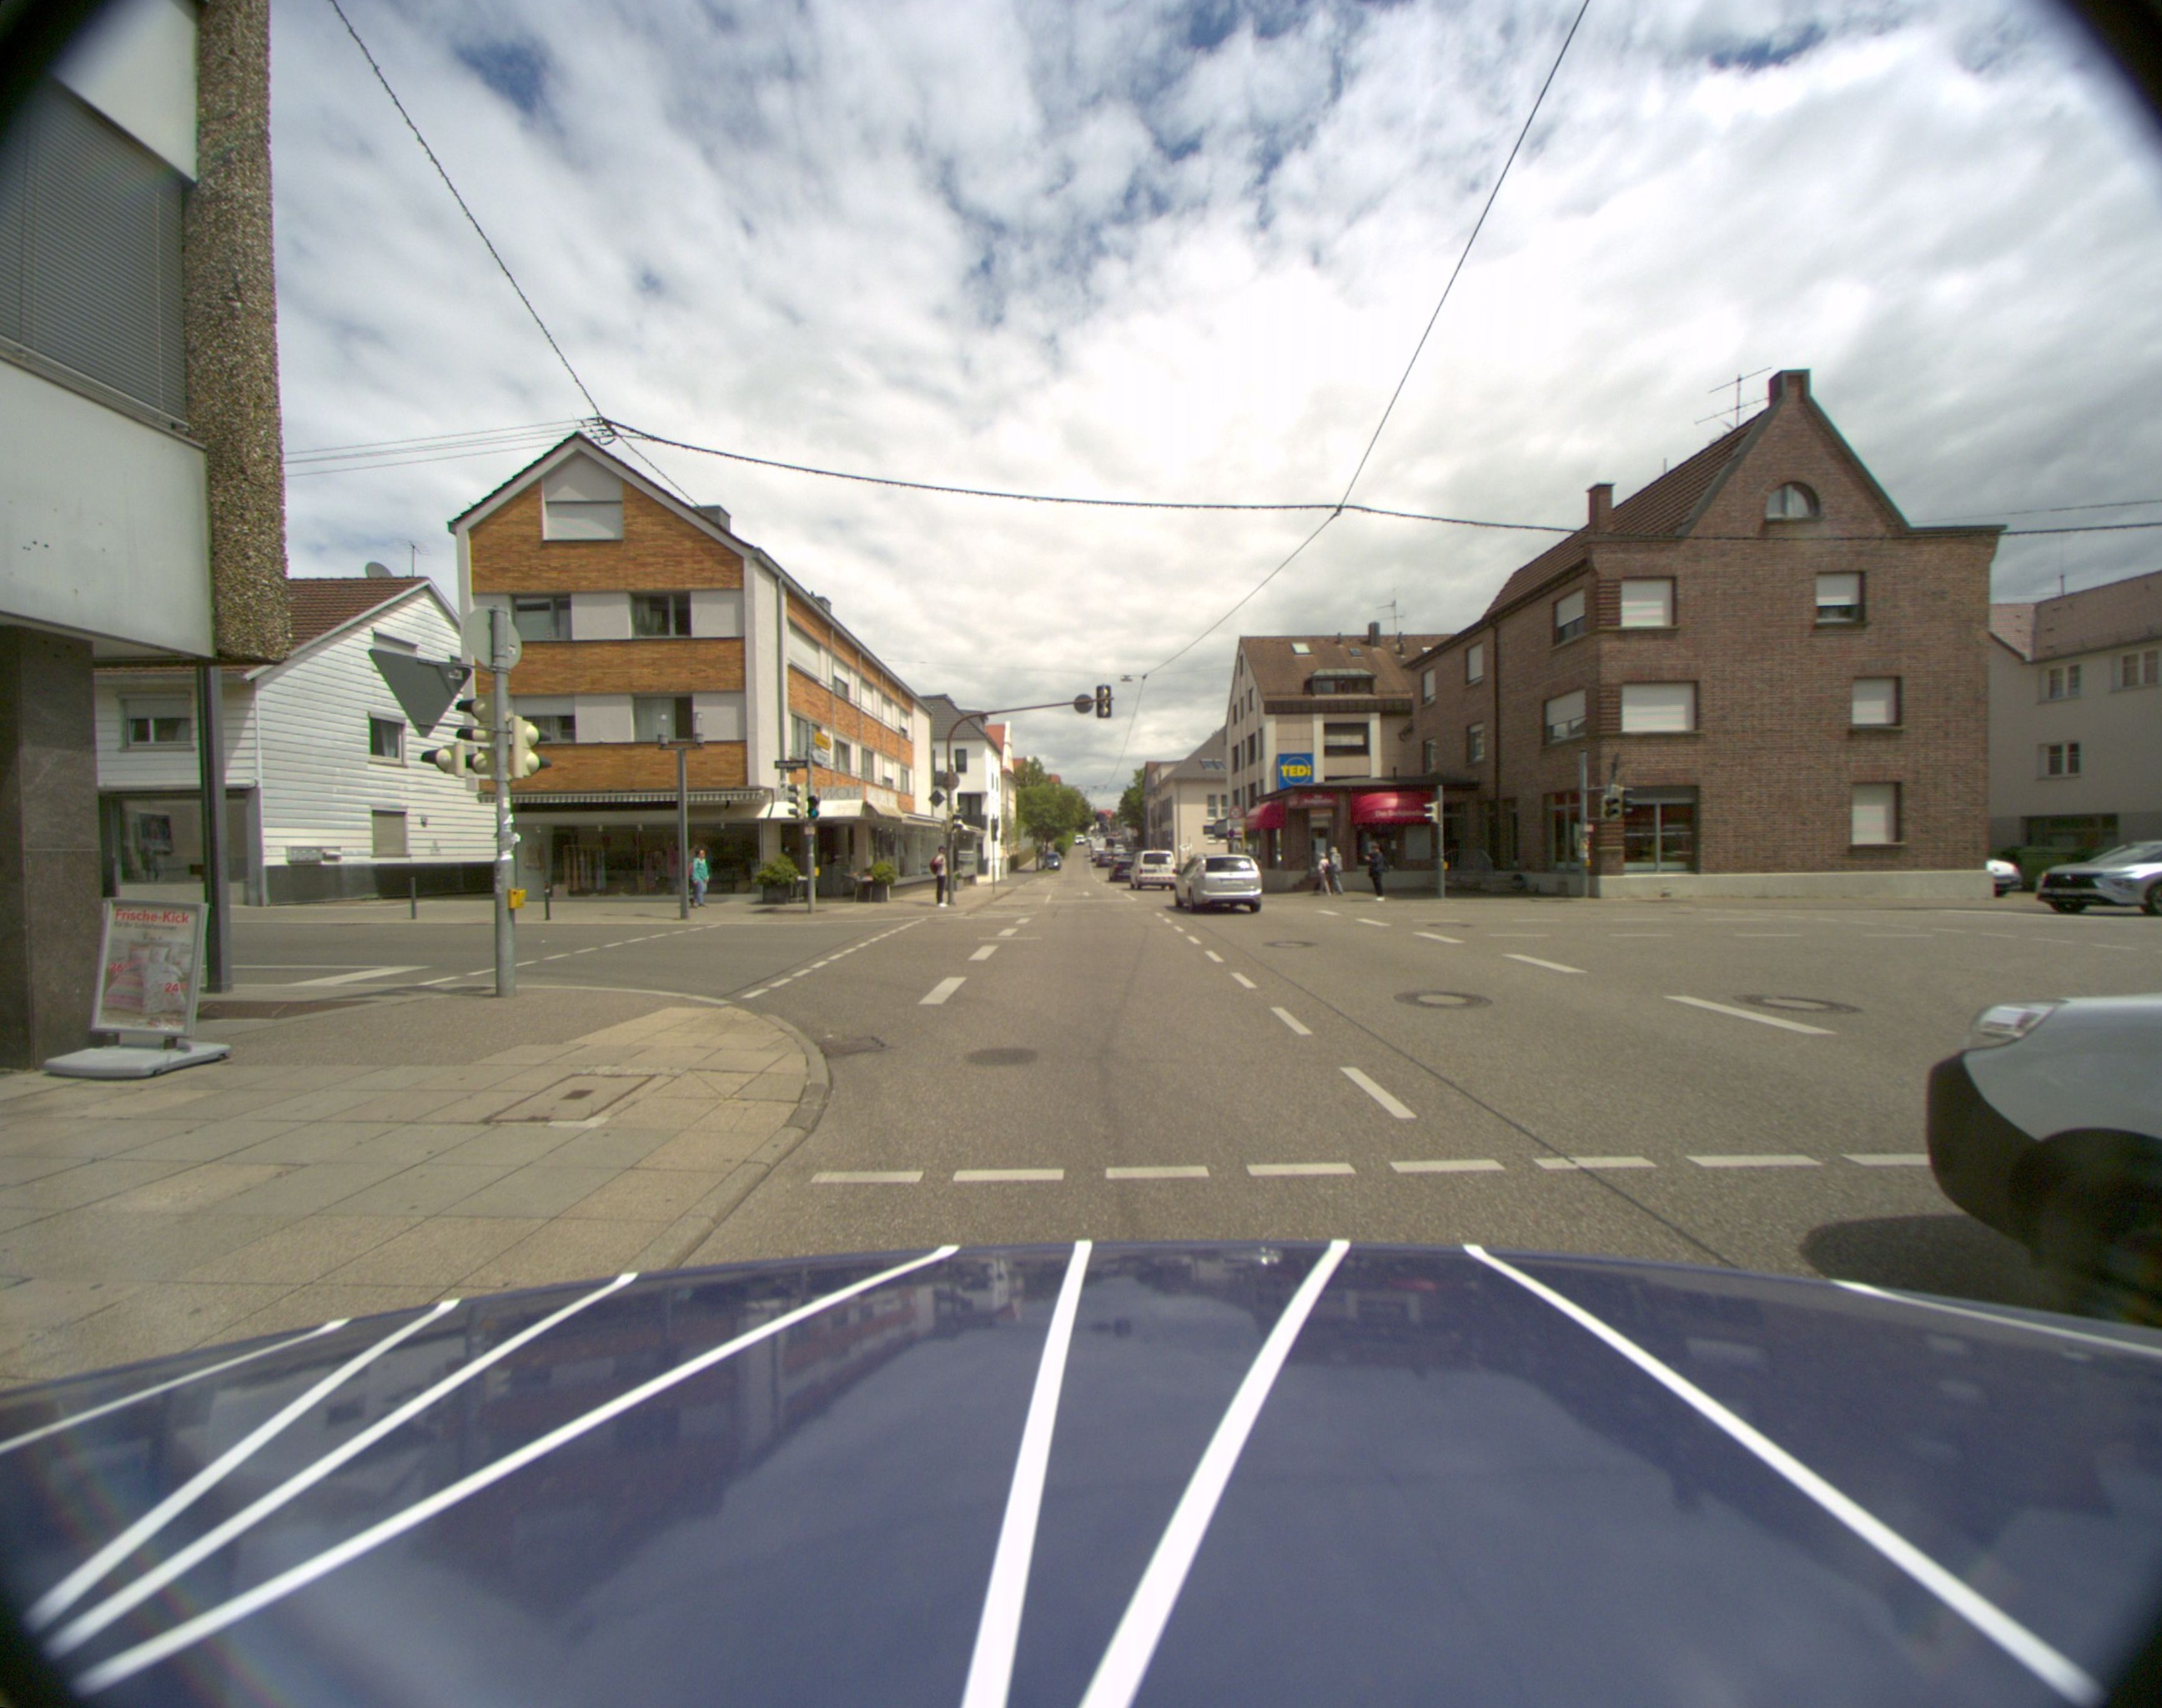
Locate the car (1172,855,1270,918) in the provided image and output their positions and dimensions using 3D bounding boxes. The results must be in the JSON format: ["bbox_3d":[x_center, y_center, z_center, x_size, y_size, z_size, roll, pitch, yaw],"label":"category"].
[{"bbox_3d":[3.569,0.768,20.081,1.757,1.478,3.970,0,0,-1],"label":"car"}]

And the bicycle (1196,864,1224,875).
[{"bbox_3d":[8.777,1.044,51.671,2.291,0.724,0.663,-1,0,-43],"label":"bicycle"}]

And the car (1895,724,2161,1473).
[{"bbox_3d":[3.658,0.626,0.520,1.819,1.919,4.112,0,0,1],"label":"car"}]

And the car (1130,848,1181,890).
[{"bbox_3d":[3.687,0.698,38.526,1.982,1.985,5.027,0,0,-1],"label":"car"}]

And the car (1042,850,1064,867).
[{"bbox_3d":[-2.767,0.444,75.721,1.998,1.654,4.000,0,0,0],"label":"car"}]

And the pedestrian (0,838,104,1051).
[{"bbox_3d":[-8.796,0.701,6.123,0.806,1.661,0.797,0,1,3],"label":"pedestrian"}]

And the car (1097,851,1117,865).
[{"bbox_3d":[2.685,0.441,80.354,1.858,1.414,4.192,0,0,-1],"label":"car"}]

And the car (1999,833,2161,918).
[{"bbox_3d":[23.962,0.448,16.556,5.255,1.758,2.001,0,0,3],"label":"car"}]

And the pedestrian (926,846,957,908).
[{"bbox_3d":[-4.138,0.663,22.588,0.581,1.820,0.882,1,1,17],"label":"pedestrian"}]

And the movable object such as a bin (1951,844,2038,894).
[{"bbox_3d":[31.006,0.481,25.817,1.519,1.615,1.145,-2,1,4],"label":"movable object such as a bin"}]

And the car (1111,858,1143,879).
[{"bbox_3d":[3.118,0.992,52.598,1.858,1.371,4.271,0,0,-1],"label":"car"}]

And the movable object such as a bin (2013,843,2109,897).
[{"bbox_3d":[31.111,0.496,24.138,1.519,1.615,1.145,-2,1,4],"label":"movable object such as a bin"}]

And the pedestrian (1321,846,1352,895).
[{"bbox_3d":[9.057,0.572,26.954,0.684,1.706,0.876,0,1,-17],"label":"pedestrian"}]

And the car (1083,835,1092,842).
[{"bbox_3d":[1.518,-3.778,181.652,1.998,1.654,4.000,0,0,0],"label":"car"}]

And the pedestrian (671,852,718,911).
[{"bbox_3d":[-10.120,0.698,19.911,0.818,1.517,0.779,0,1,-1],"label":"pedestrian"}]

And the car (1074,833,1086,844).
[{"bbox_3d":[-0.216,-3.037,148.437,2.000,1.797,4.764,4,0,-1],"label":"car"}]

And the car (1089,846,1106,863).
[{"bbox_3d":[1.949,0.080,92.555,1.858,1.957,4.192,0,0,-1],"label":"car"}]

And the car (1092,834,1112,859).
[{"bbox_3d":[2.849,-1.037,105.986,2.428,3.409,7.636,0,0,-1],"label":"car"}]

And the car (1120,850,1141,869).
[{"bbox_3d":[5.664,0.621,87.292,2.111,2.109,4.765,-1,0,0],"label":"car"}]

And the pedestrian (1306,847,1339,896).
[{"bbox_3d":[8.472,0.597,26.703,0.780,1.685,0.794,0,1,-17],"label":"pedestrian"}]

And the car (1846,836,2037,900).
[{"bbox_3d":[27.038,0.417,24.079,1.869,1.852,3.702,0,0,1],"label":"car"}]

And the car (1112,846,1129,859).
[{"bbox_3d":[5.464,-0.232,104.964,2.111,1.778,4.529,-1,0,0],"label":"car"}]

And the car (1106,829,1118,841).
[{"bbox_3d":[5.616,-3.517,138.351,2.111,2.109,4.764,1,1,0],"label":"car"}]

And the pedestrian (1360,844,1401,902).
[{"bbox_3d":[9.180,0.569,23.261,0.908,1.713,0.849,-1,1,-41],"label":"pedestrian"}]
